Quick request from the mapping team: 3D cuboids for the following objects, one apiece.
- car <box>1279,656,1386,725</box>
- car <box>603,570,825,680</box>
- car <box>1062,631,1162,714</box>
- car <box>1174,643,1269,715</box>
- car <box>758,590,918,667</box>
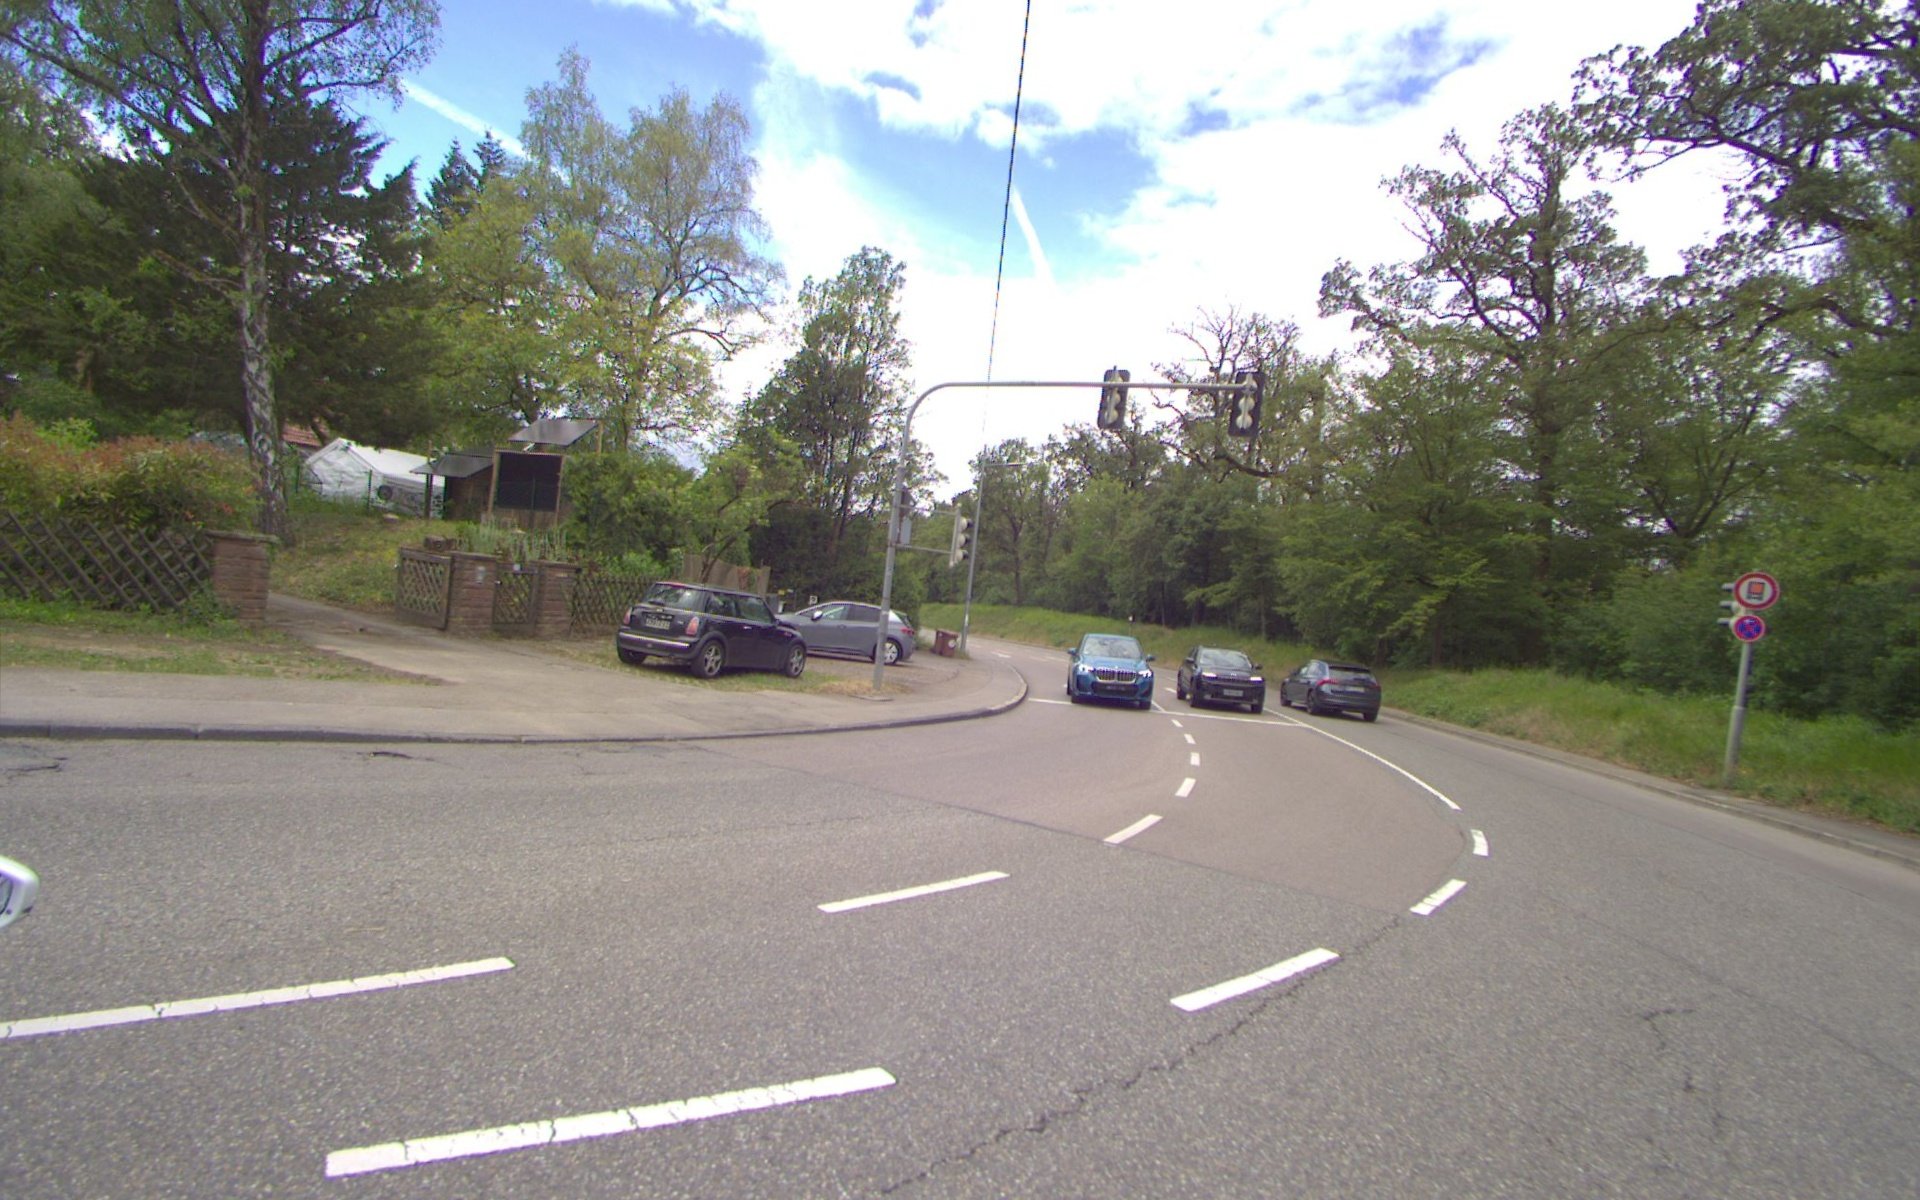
[{"bbox_3d":[10.068,2.399,27.471,1.672,1.463,4.002,6,-1,6],"label":"car"},{"bbox_3d":[-3.926,0.463,16.663,1.626,1.407,3.604,8,0,22],"label":"car"},{"bbox_3d":[3.508,1.632,23.917,1.879,1.597,4.001,4,0,4],"label":"car"},{"bbox_3d":[6.701,1.973,26.121,1.704,1.526,4.002,5,-1,6],"label":"car"},{"bbox_3d":[-3.269,0.774,26.749,3.936,1.542,1.659,7,-3,-13],"label":"car"}]
